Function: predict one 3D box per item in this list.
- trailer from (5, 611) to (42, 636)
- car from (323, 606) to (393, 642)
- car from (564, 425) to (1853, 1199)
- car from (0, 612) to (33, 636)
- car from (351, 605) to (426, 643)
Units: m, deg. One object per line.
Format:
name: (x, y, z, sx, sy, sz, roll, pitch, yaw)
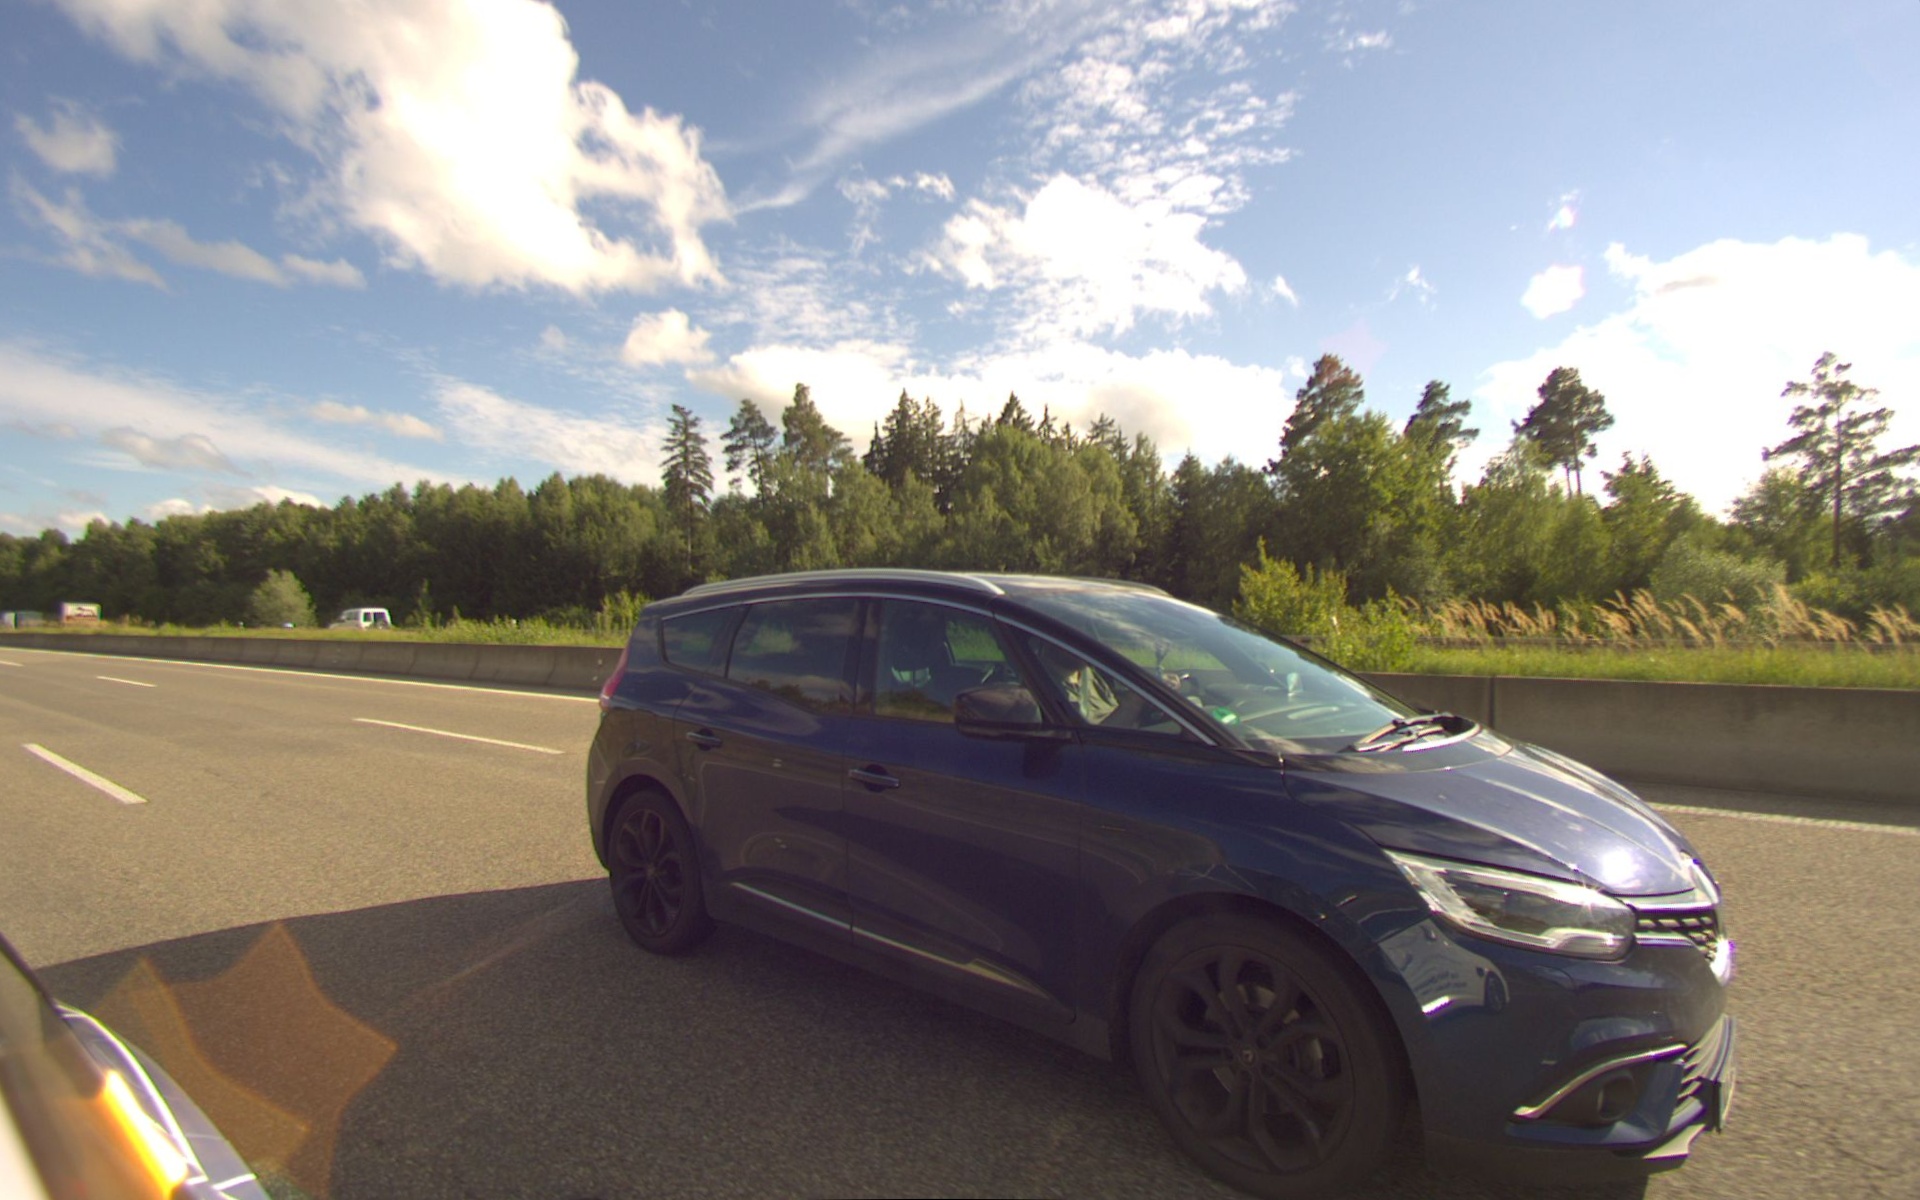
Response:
trailer: (-105.666, 2.685, 114.165, 5.554, 2.704, 2.248, -1, -1, 38)
car: (-35.772, 1.442, 60.034, 5.383, 2.029, 1.973, -1, -1, 41)
car: (0.463, 0.598, 3.972, 4.528, 1.720, 1.972, -1, -1, 42)
car: (-109.305, 2.758, 117.014, 5.880, 2.704, 2.248, -1, -1, 38)
car: (-32.228, 1.356, 56.983, 5.383, 2.029, 1.973, -1, -1, 41)
